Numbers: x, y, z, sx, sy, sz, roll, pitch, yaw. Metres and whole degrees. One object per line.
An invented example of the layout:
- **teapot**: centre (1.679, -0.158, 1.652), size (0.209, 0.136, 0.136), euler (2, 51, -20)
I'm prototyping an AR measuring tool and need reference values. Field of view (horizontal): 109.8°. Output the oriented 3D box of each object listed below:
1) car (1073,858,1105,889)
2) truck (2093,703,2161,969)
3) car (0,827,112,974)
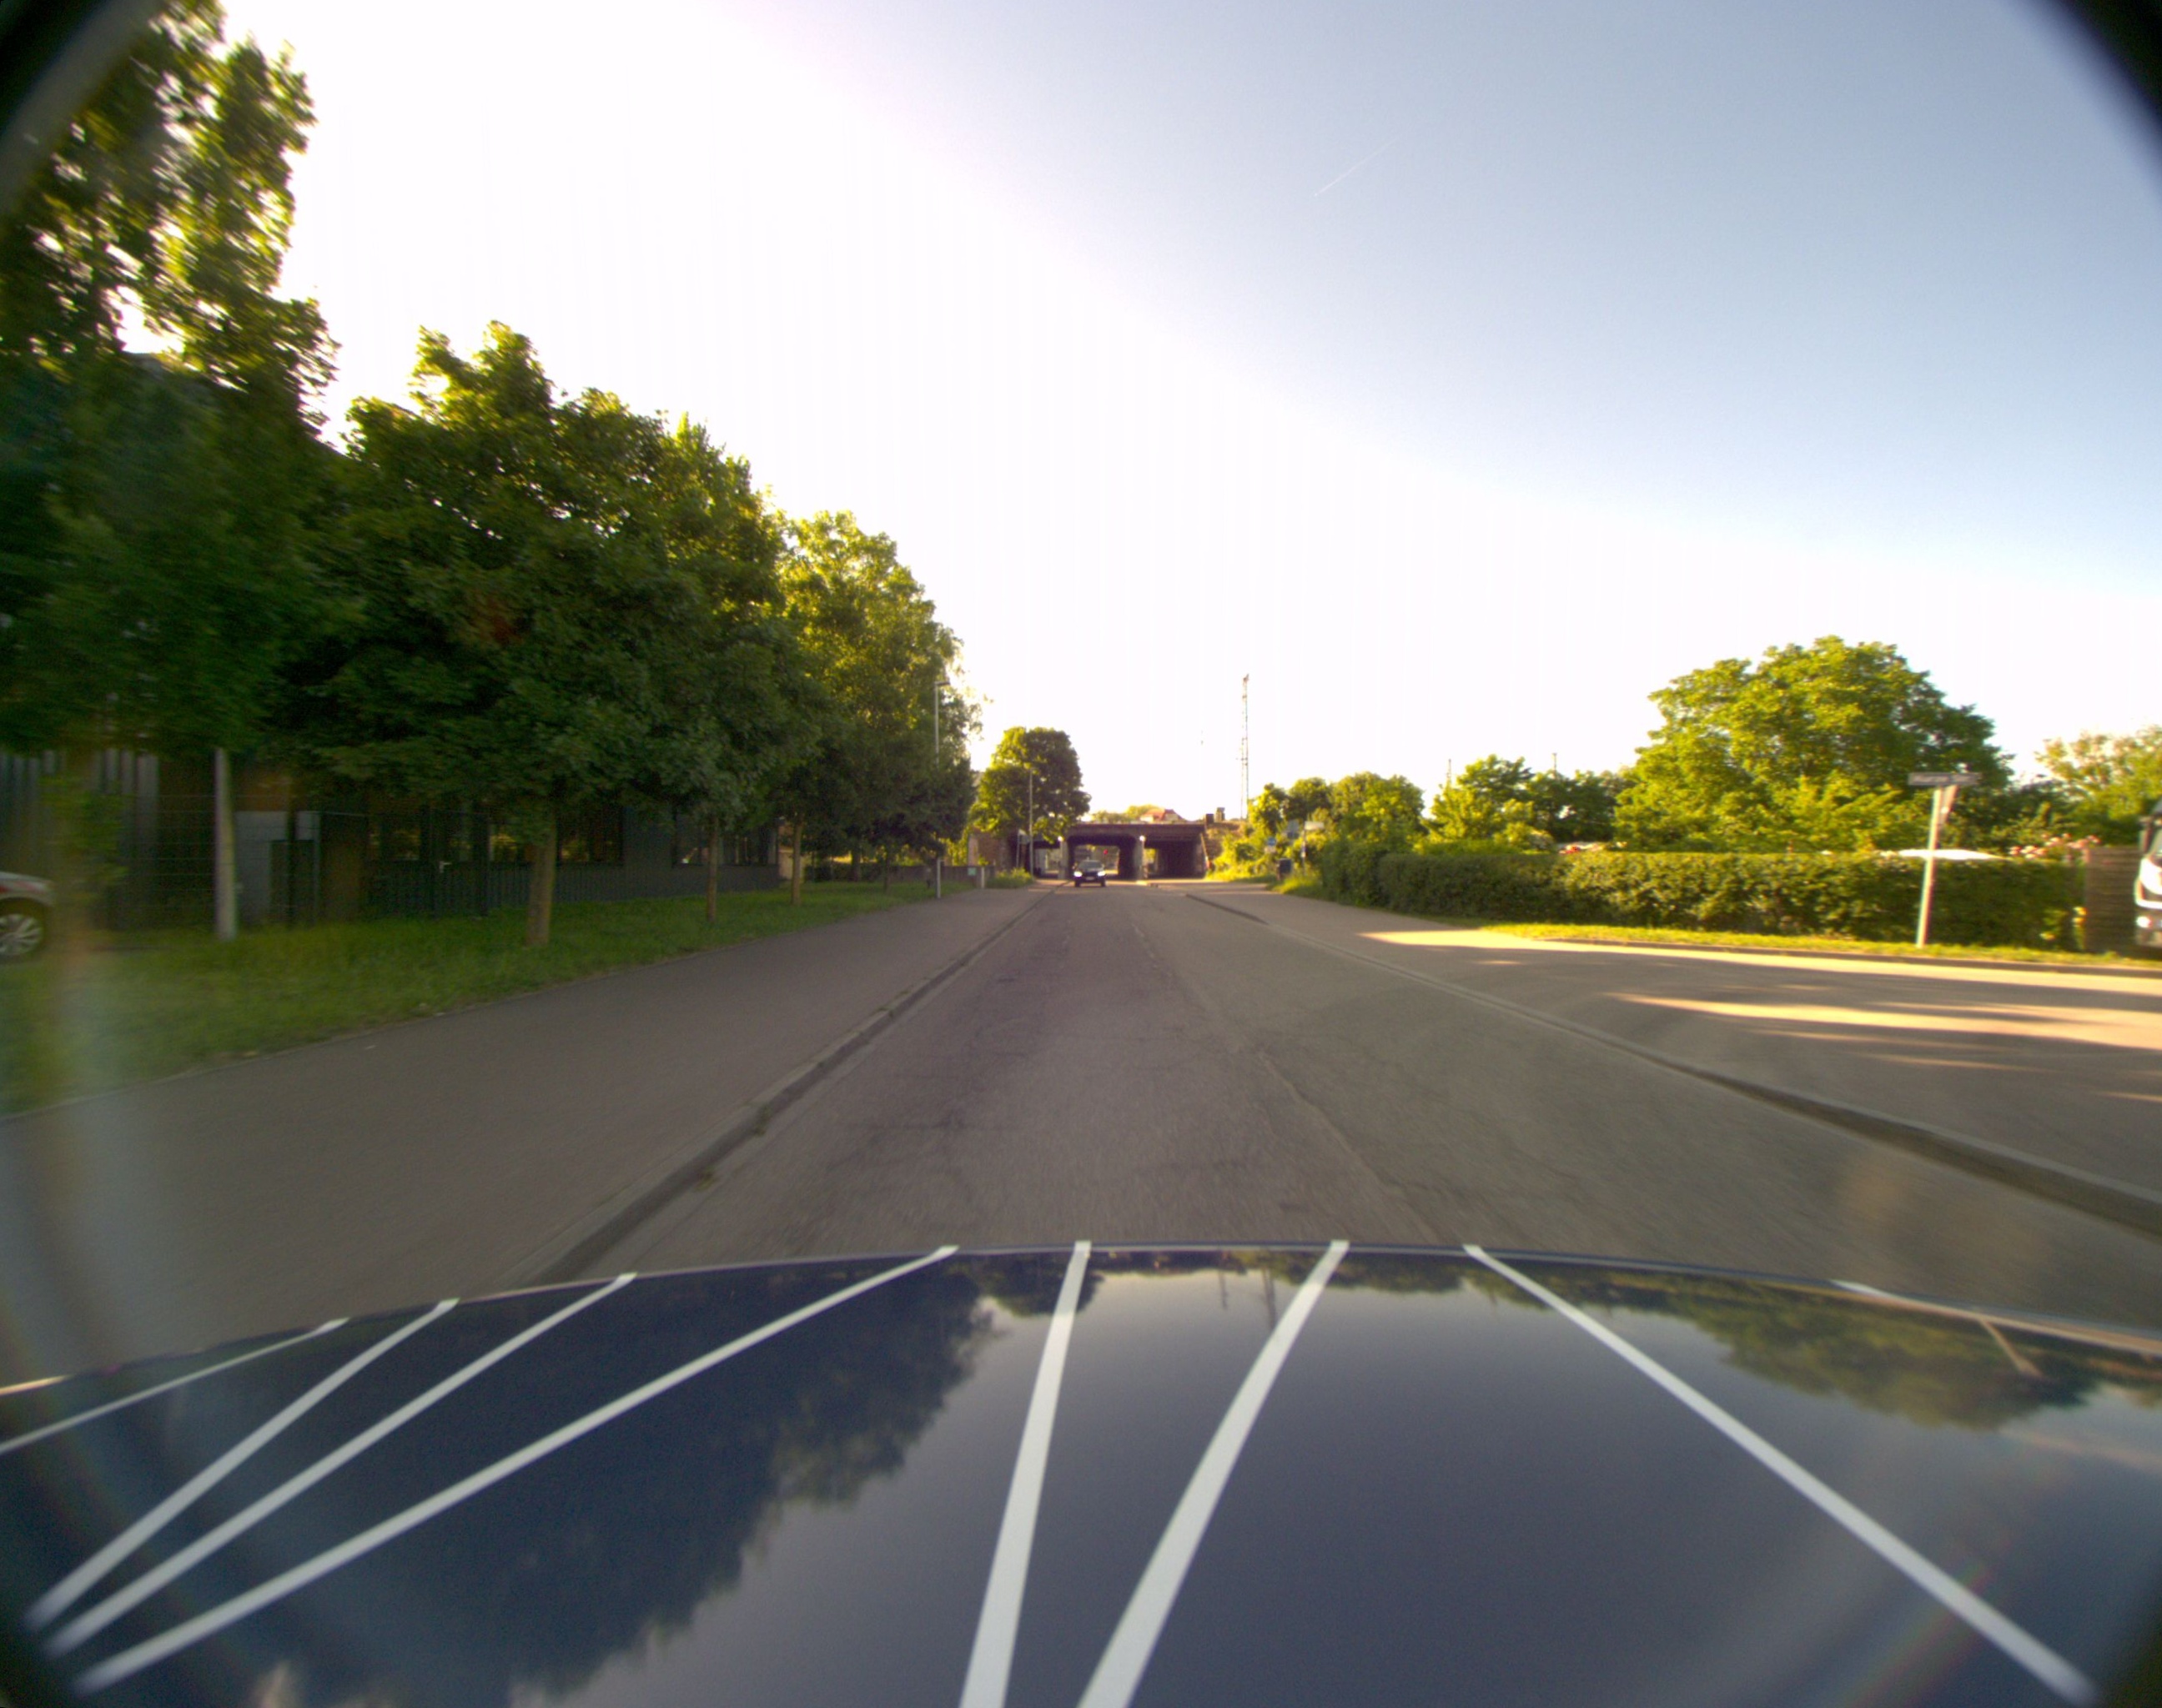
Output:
- **car**: centre (0.580, 1.233, 49.577), size (1.940, 1.922, 4.525), euler (1, 0, 2)
- **truck**: centre (19.766, -0.303, 8.794), size (9.309, 3.861, 2.716), euler (-1, 2, 30)
- **car**: centre (-11.577, 0.507, 6.196), size (1.840, 1.458, 4.277), euler (-2, 0, -2)
